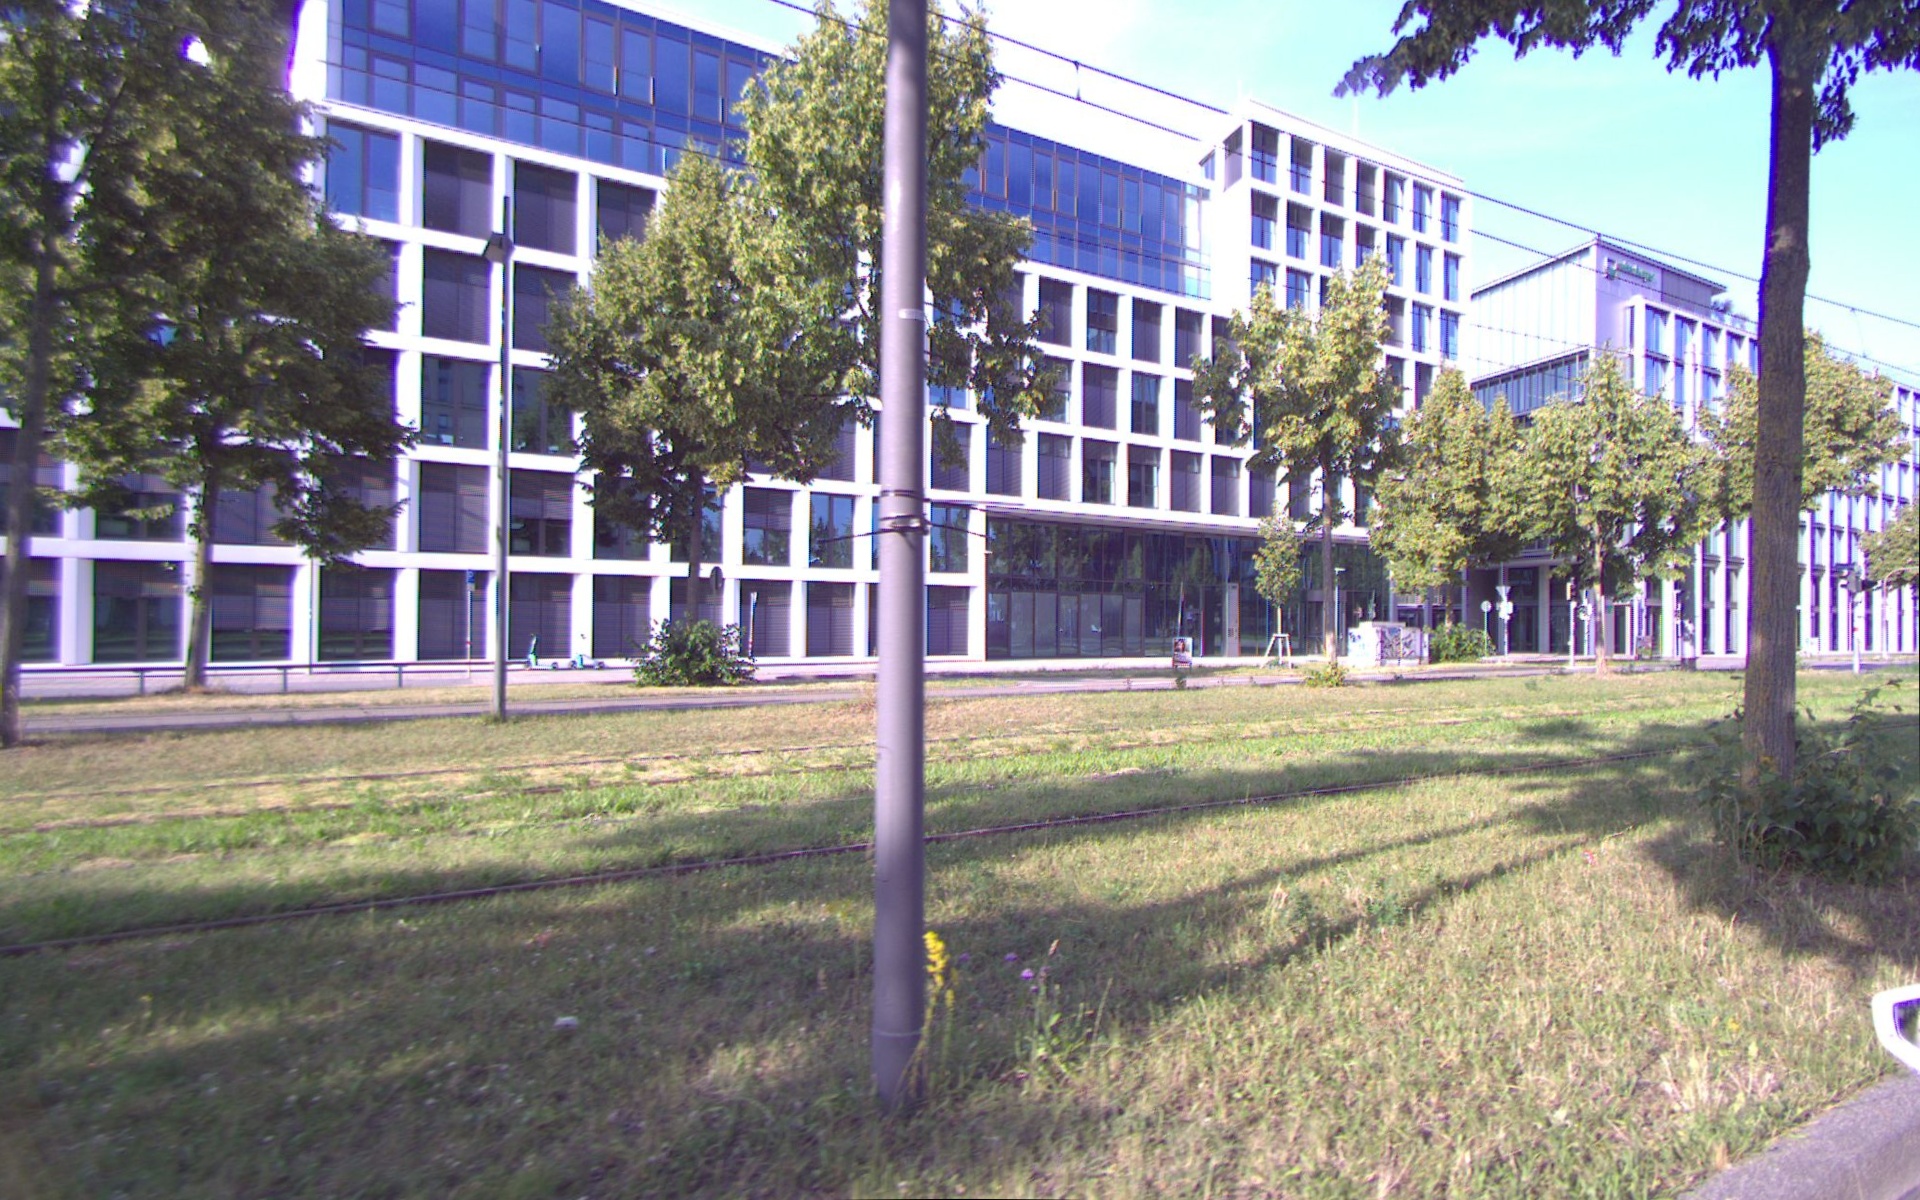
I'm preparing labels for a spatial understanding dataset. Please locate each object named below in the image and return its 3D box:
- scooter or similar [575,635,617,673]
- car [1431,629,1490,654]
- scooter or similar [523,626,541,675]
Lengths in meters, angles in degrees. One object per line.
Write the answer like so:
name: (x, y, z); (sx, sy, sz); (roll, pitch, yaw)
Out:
scooter or similar: (-12.381, 1.839, 34.210); (1.278, 1.242, 0.335); (2, 0, -17)
car: (34.043, 2.815, 68.430); (1.551, 1.443, 3.497); (2, 0, -19)
scooter or similar: (-13.985, 1.633, 32.806); (0.409, 1.496, 1.922); (2, 0, -25)
